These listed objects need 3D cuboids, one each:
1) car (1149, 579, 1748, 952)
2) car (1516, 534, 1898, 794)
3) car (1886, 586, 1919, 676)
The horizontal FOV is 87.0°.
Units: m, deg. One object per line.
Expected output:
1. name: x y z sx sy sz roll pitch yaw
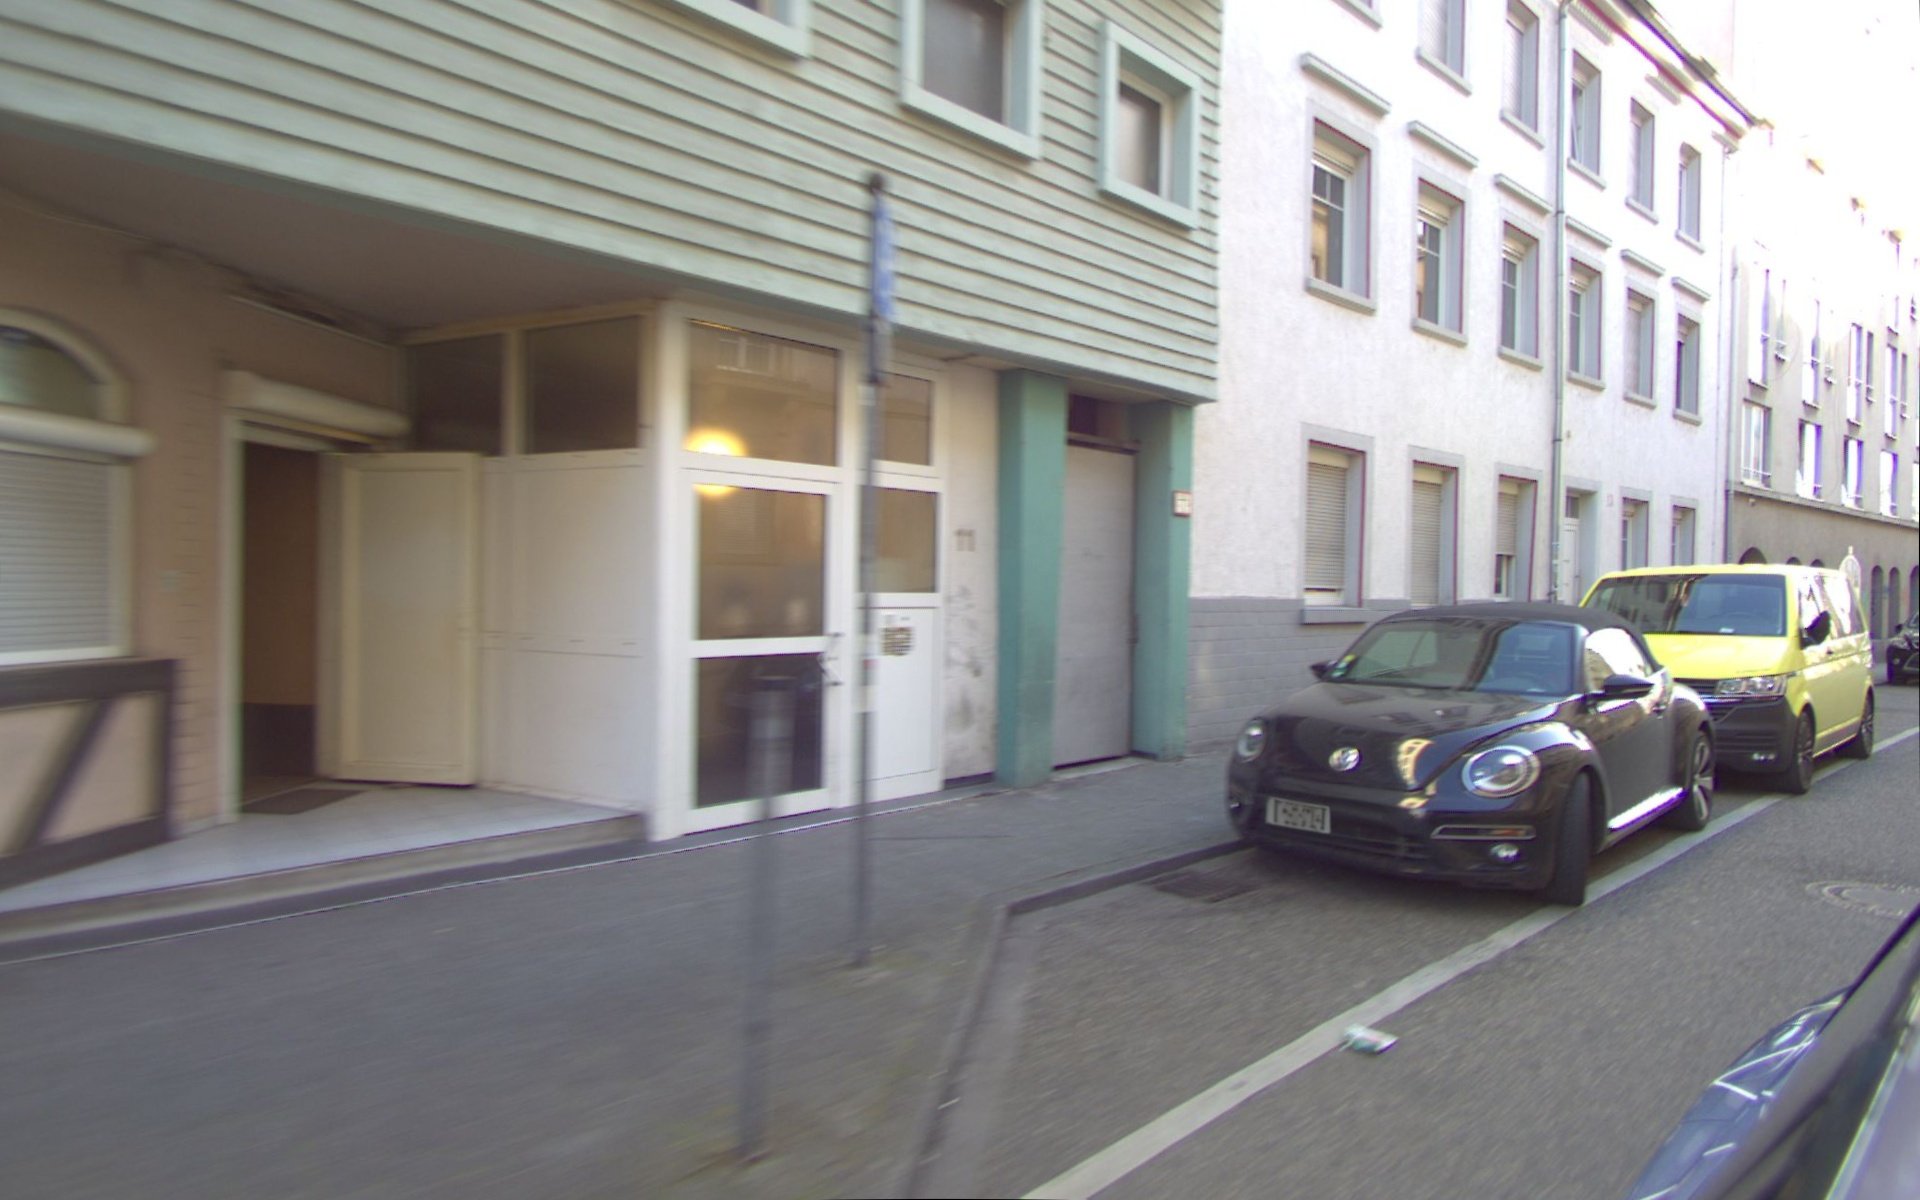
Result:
1. car: 3.247 0.672 6.273 4.293 1.508 1.886 1 1 -42
2. car: 7.299 0.466 9.681 4.759 1.905 1.887 1 1 -40
3. car: 19.959 0.612 19.822 4.408 1.675 1.831 1 0 -36
